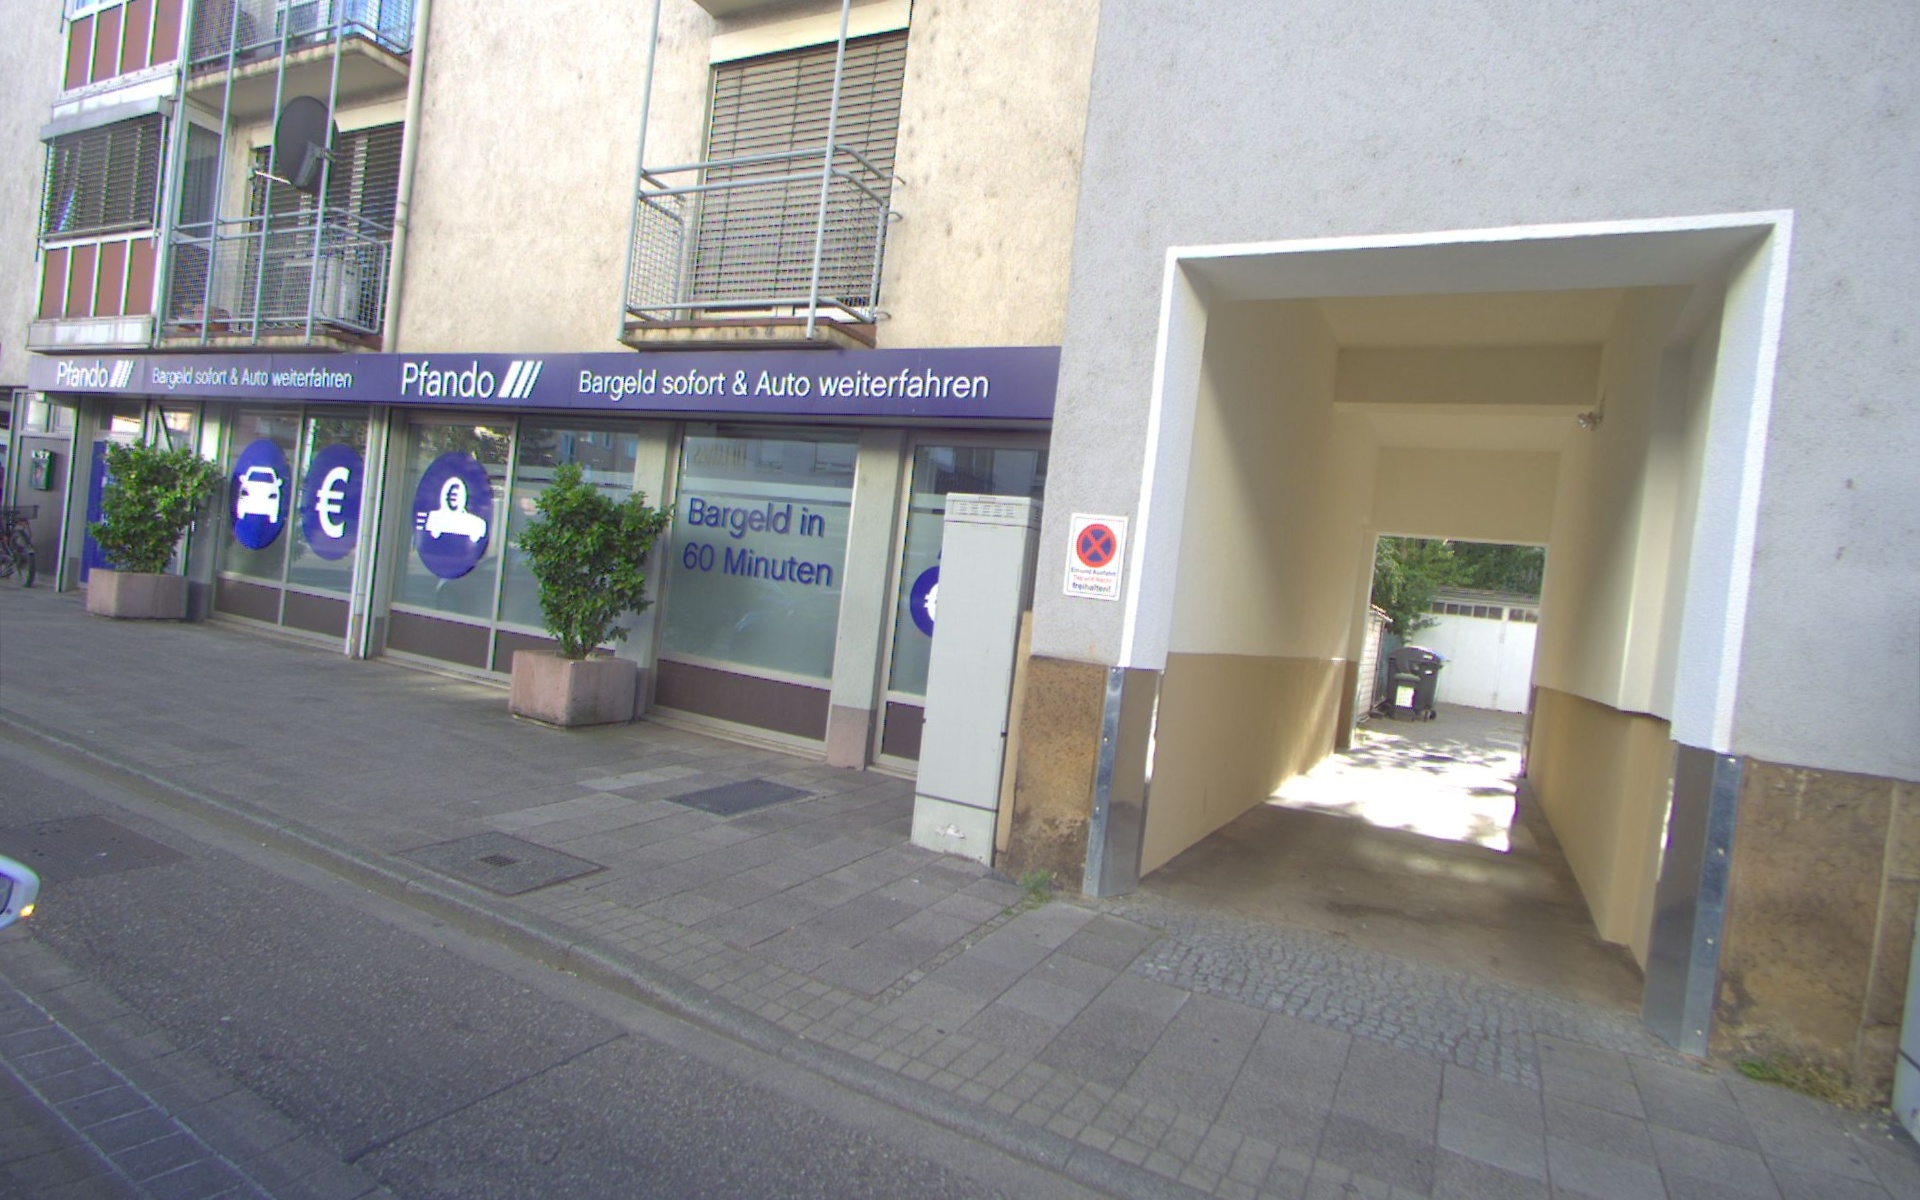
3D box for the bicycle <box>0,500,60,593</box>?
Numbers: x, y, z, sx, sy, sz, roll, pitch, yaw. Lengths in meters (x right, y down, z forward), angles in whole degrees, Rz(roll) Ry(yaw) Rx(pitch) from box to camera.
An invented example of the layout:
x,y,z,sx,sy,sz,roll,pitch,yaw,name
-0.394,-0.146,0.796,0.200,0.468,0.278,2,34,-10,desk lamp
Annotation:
x,y,z,sx,sy,sz,roll,pitch,yaw,name
-12.470,-0.741,13.048,1.779,1.086,0.531,7,1,28,bicycle
